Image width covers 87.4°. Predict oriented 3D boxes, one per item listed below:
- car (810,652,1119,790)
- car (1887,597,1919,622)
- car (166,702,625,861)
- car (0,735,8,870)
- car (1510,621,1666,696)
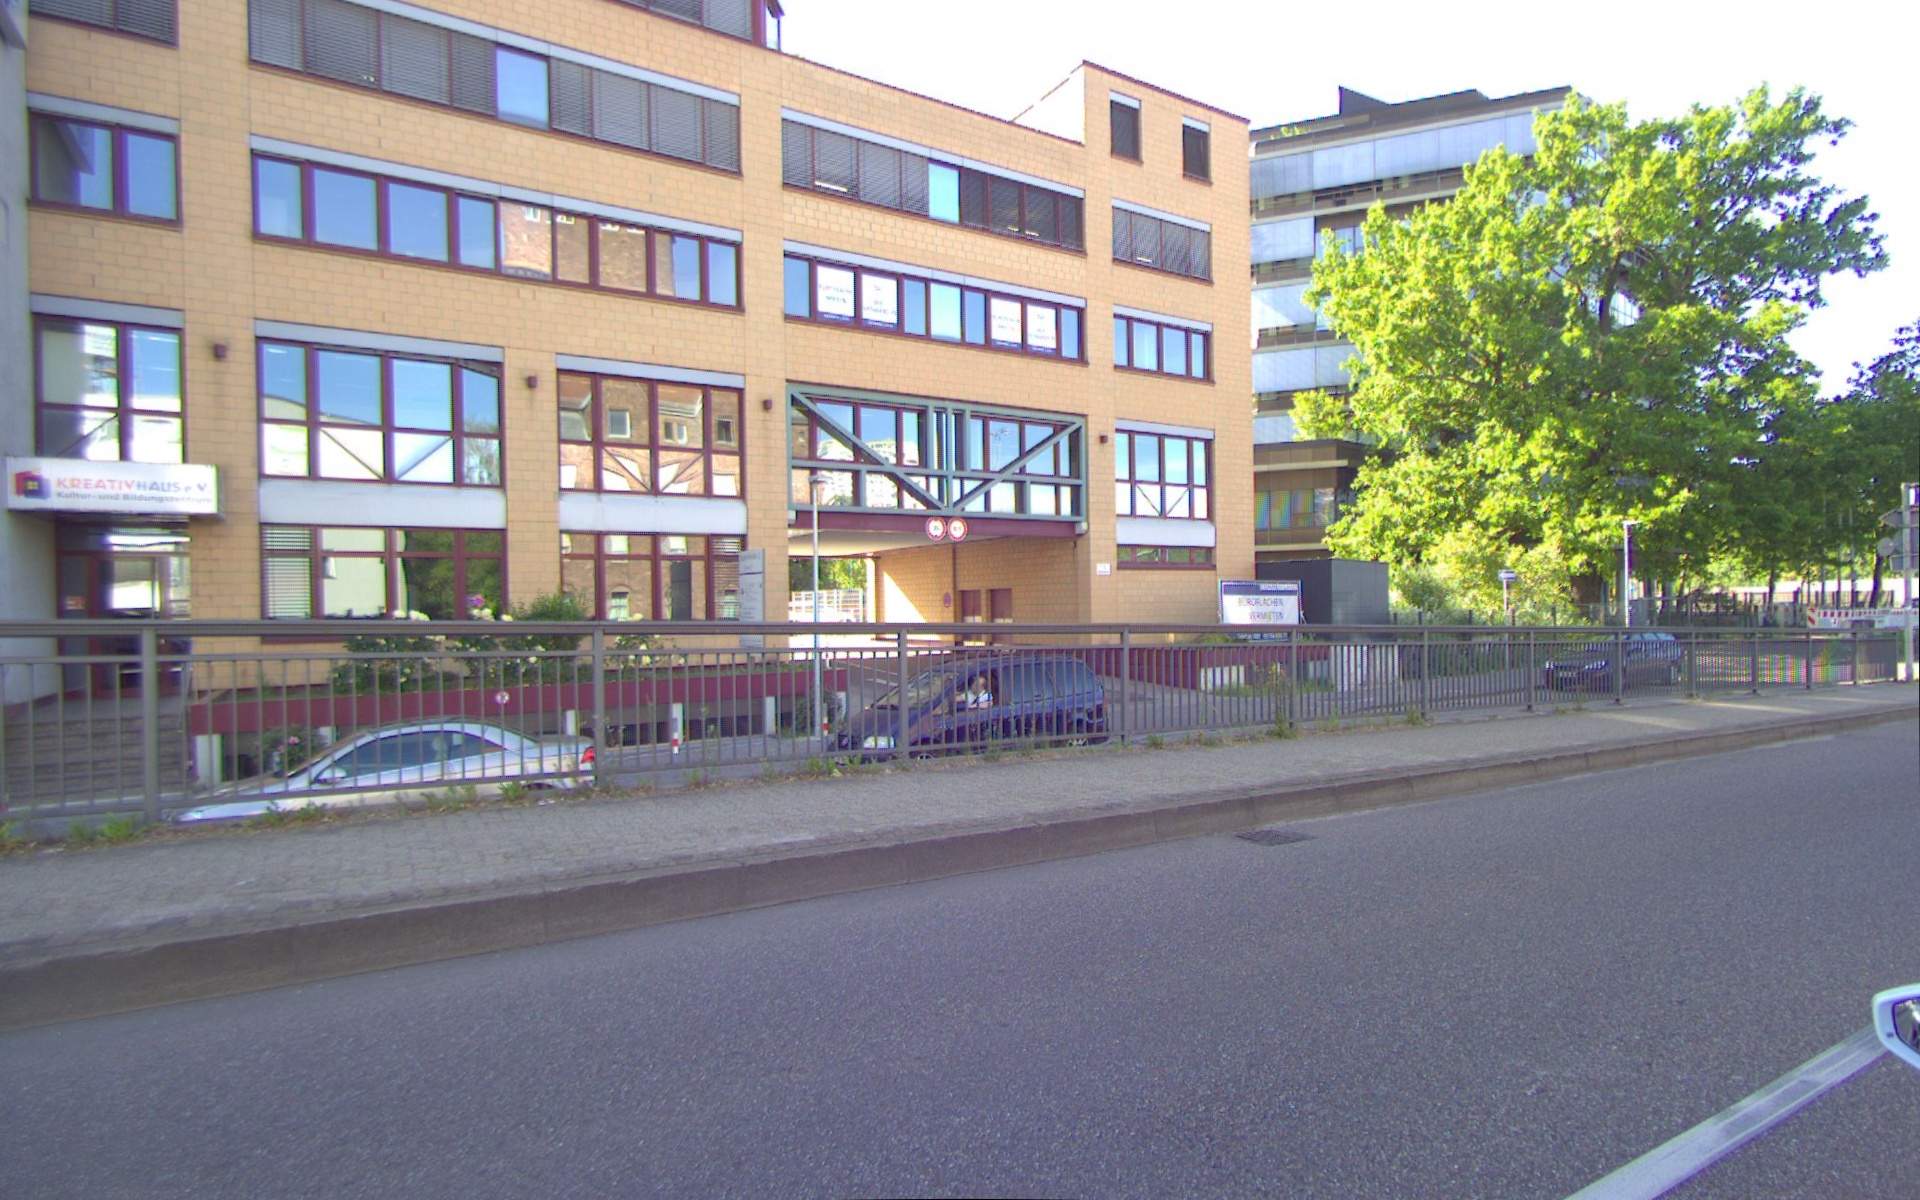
[{"bbox_3d":[0.155,1.693,15.192,4.541,1.669,1.710,0,-2,-35],"label":"car"},{"bbox_3d":[62.461,0.602,64.333,1.885,1.613,4.400,-1,0,-4],"label":"car"},{"bbox_3d":[-6.130,1.896,11.306,4.210,1.181,1.713,0,-2,-32],"label":"car"},{"bbox_3d":[-10.629,1.949,8.281,3.766,1.286,1.567,0,-2,-32],"label":"car"},{"bbox_3d":[16.440,1.463,26.271,3.953,1.715,1.843,-1,0,-30],"label":"car"}]
